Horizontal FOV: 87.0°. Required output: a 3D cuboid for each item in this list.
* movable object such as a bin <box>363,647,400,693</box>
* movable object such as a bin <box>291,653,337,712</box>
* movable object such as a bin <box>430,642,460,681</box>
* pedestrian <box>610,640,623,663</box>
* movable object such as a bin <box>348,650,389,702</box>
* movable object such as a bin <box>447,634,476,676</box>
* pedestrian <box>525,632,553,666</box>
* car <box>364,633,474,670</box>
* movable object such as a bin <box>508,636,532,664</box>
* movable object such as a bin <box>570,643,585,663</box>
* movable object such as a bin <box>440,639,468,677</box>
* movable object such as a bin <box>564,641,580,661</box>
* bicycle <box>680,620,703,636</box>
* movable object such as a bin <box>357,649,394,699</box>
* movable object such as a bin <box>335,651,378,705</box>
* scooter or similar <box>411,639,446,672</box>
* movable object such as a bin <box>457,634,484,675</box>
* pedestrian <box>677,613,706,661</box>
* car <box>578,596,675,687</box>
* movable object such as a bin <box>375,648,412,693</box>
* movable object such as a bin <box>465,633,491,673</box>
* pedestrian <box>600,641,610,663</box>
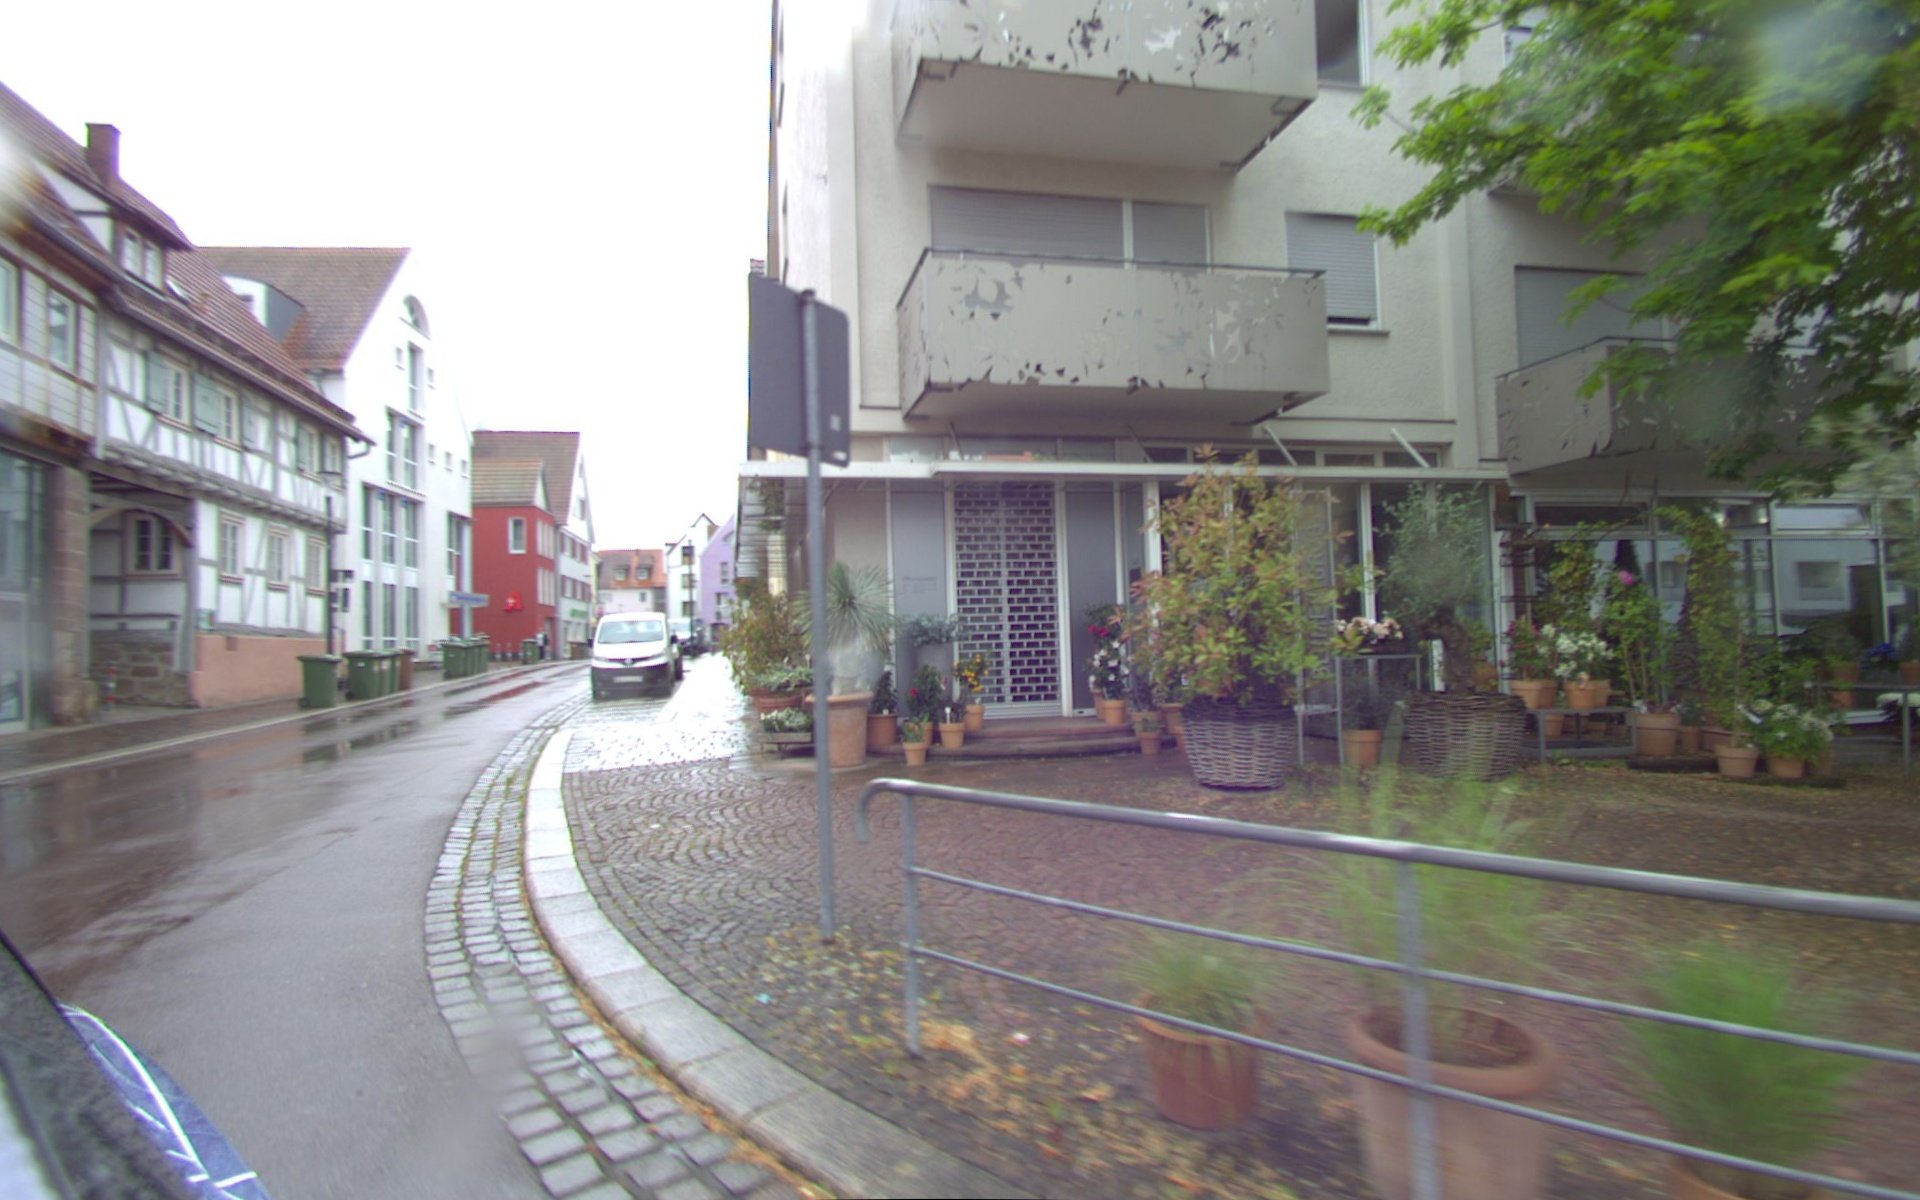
[{"bbox_3d":[-14.294,1.713,25.029,0.660,1.089,0.589,-1,-1,-15],"label":"movable object such as a bin"},{"bbox_3d":[-13.206,1.677,20.691,0.601,1.136,0.601,-2,-1,-13],"label":"movable object such as a bin"},{"bbox_3d":[-15.720,1.859,30.888,0.608,1.140,0.633,-2,-1,-8],"label":"movable object such as a bin"},{"bbox_3d":[-30.402,4.557,89.595,0.762,1.919,0.807,-1,-1,-39],"label":"pedestrian"},{"bbox_3d":[-13.804,1.766,23.623,0.630,1.156,0.605,-2,-1,-8],"label":"movable object such as a bin"},{"bbox_3d":[-15.892,1.742,32.273,0.630,1.300,0.633,-2,-1,-8],"label":"movable object such as a bin"},{"bbox_3d":[-21.601,2.515,51.939,1.161,1.710,1.181,0,-3,-16],"label":"pedestrian"},{"bbox_3d":[-24.403,2.311,45.748,3.941,1.526,1.913,-1,-1,-2],"label":"car"},{"bbox_3d":[-18.673,2.125,42.978,0.793,1.139,0.865,-2,-1,-15],"label":"movable object such as a bin"},{"bbox_3d":[-21.793,2.995,57.645,0.667,1.092,0.699,-2,-2,-12],"label":"movable object such as a bin"},{"bbox_3d":[-15.791,1.809,31.588,0.608,1.140,0.633,-2,-1,-8],"label":"movable object such as a bin"},{"bbox_3d":[-21.567,2.846,56.210,0.719,1.089,0.648,-2,-2,-12],"label":"movable object such as a bin"},{"bbox_3d":[-21.405,2.240,80.721,1.722,1.173,0.445,-2,-1,-33],"label":"bicycle"},{"bbox_3d":[-14.099,1.775,24.425,0.629,1.156,0.634,-2,-1,-16],"label":"movable object such as a bin"},{"bbox_3d":[-13.695,1.759,22.978,0.630,1.156,0.581,-2,-1,-8],"label":"movable object such as a bin"},{"bbox_3d":[-19.622,2.035,37.411,0.657,1.154,1.448,-2,-1,-7],"label":"scooter or similar"},{"bbox_3d":[-16.030,1.766,33.147,0.630,1.300,0.633,-2,-1,-8],"label":"movable object such as a bin"},{"bbox_3d":[-10.640,1.468,40.192,1.021,1.820,1.119,-3,-2,-13],"label":"pedestrian"},{"bbox_3d":[-7.602,0.907,23.405,1.700,1.839,4.440,-2,-1,-13],"label":"car"},{"bbox_3d":[-14.654,1.820,26.185,0.668,1.105,0.652,-2,-1,-17],"label":"movable object such as a bin"},{"bbox_3d":[-16.298,1.788,34.223,0.630,1.300,0.633,-2,-1,-8],"label":"movable object such as a bin"},{"bbox_3d":[-31.346,4.598,89.395,0.645,1.917,0.660,2,-3,-39],"label":"pedestrian"}]
